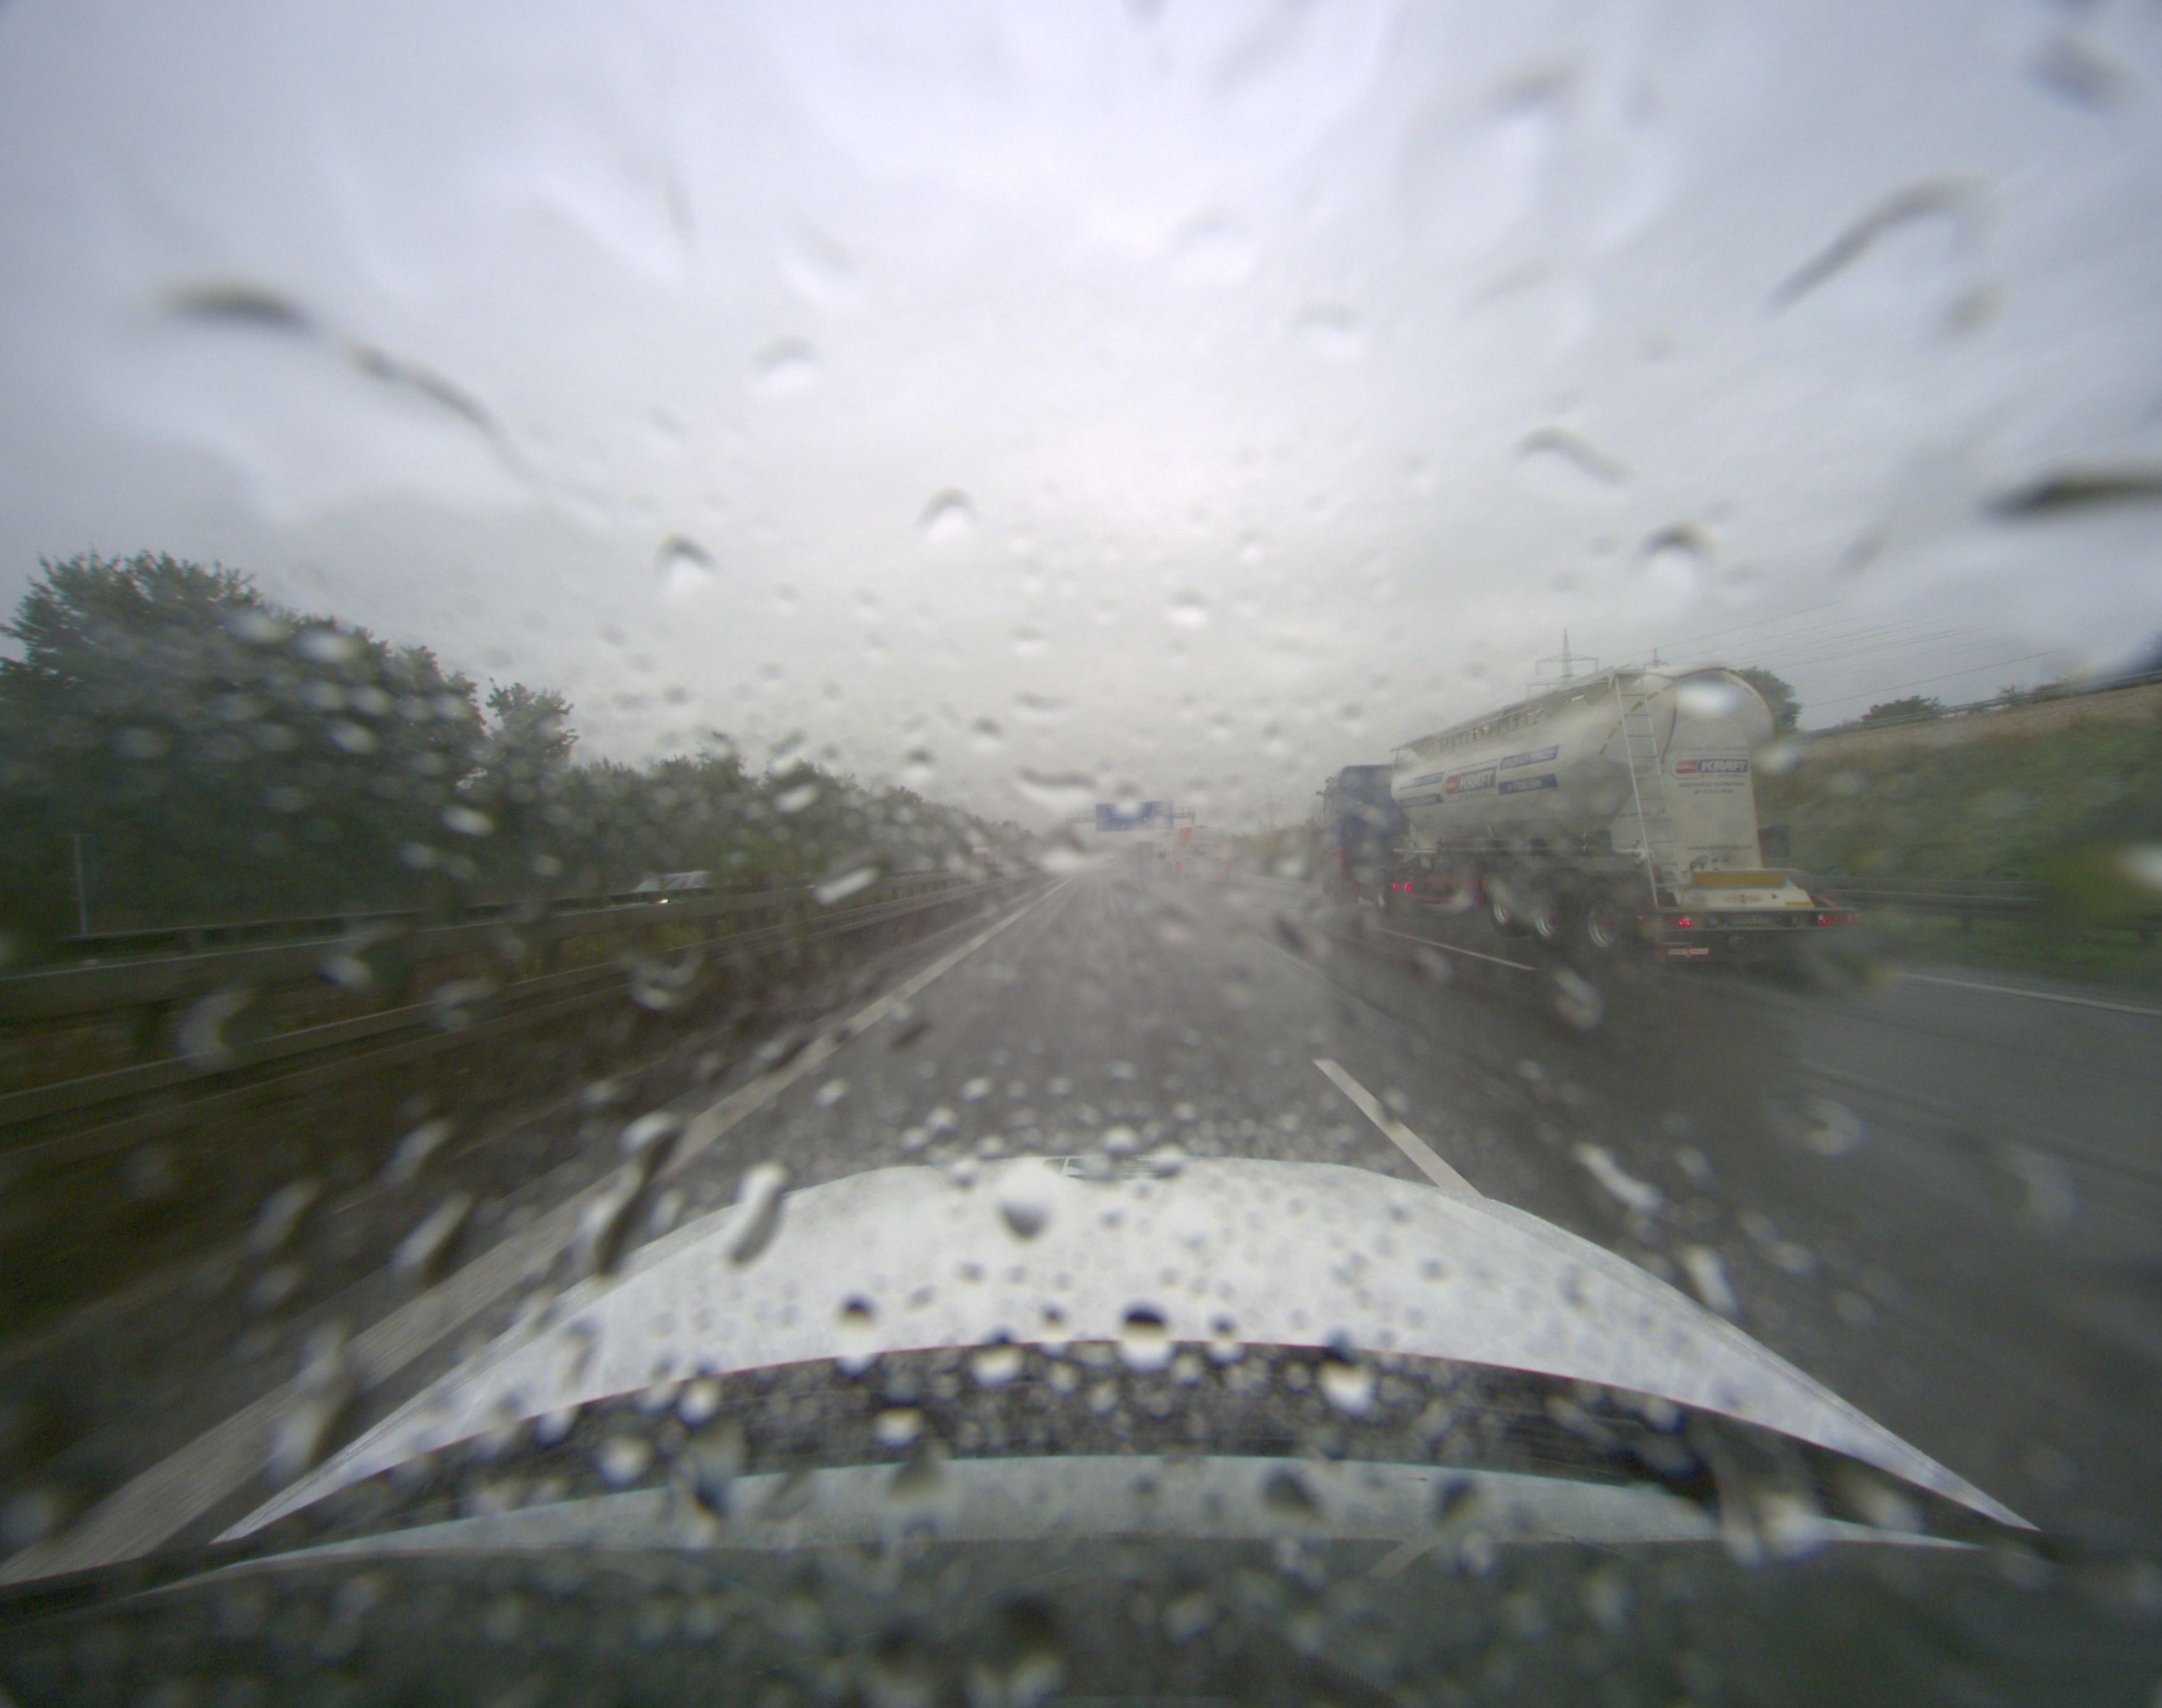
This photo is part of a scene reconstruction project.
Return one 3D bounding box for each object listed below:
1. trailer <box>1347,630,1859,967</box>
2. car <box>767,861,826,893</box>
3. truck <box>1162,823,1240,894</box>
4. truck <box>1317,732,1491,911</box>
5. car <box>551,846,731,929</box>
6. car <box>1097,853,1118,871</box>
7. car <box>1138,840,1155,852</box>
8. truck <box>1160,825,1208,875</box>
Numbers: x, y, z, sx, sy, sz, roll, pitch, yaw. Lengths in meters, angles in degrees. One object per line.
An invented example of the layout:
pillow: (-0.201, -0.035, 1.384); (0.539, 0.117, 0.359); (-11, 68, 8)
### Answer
trailer: (7.858, -0.694, 14.964); (2.488, 3.882, 11.069); (-1, 0, 1)
car: (-14.341, 1.132, 41.217); (1.577, 1.493, 3.743); (-1, 0, 1)
truck: (4.539, 0.143, 31.710); (2.410, 2.492, 5.563); (-1, 0, 2)
truck: (7.946, -0.750, 20.728); (2.488, 3.983, 5.077); (-1, 0, 1)
car: (-11.109, 0.743, 21.030); (2.024, 1.885, 4.630); (-1, 0, 1)
car: (2.018, 0.592, 62.406); (1.599, 1.338, 3.850); (-1, 0, 1)
car: (11.451, -1.388, 143.186); (2.778, 2.013, 4.994); (-1, 0, 1)
truck: (10.362, -0.317, 83.786); (3.029, 4.588, 16.352); (-1, 0, 1)
